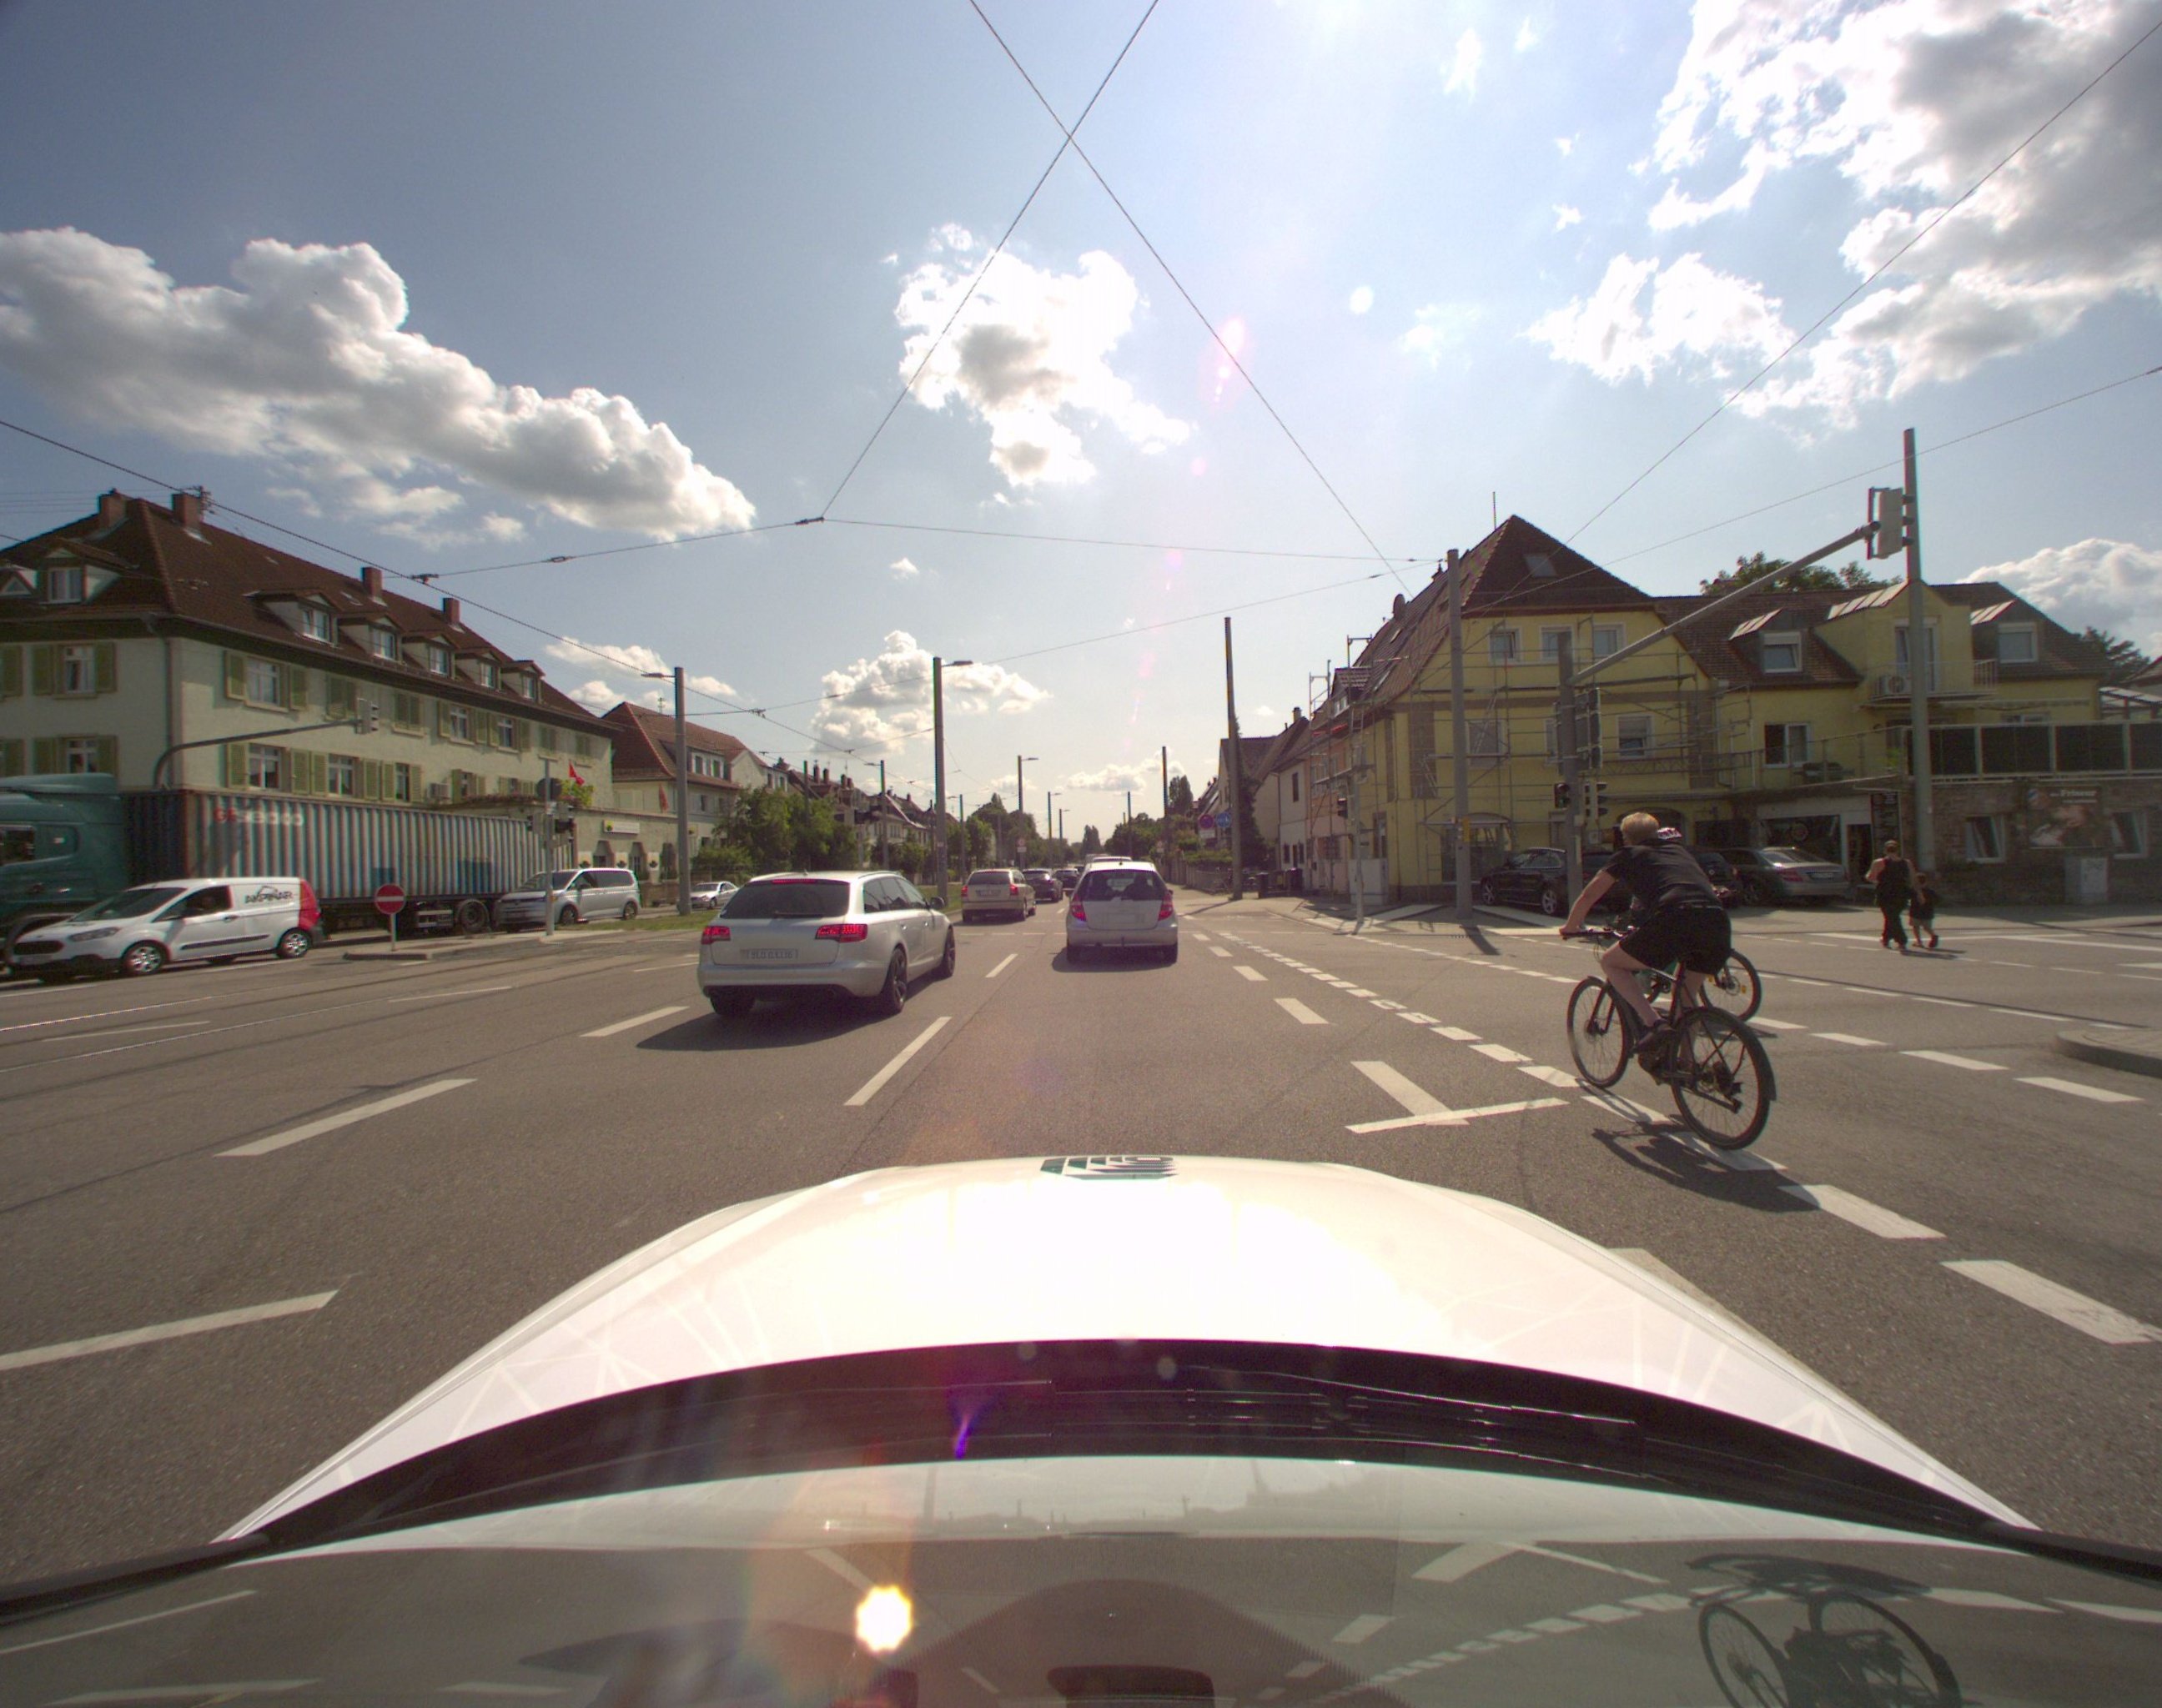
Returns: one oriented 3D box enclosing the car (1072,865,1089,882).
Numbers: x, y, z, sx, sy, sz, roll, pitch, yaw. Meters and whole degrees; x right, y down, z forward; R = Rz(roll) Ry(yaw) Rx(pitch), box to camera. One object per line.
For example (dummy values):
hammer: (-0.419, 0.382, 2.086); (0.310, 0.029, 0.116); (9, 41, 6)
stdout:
car: (-0.006, 2.218, 92.203); (1.846, 1.843, 3.917); (0, -1, 0)

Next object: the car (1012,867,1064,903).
car: (-1.828, 1.333, 35.995); (1.909, 1.477, 4.563); (0, -1, 1)

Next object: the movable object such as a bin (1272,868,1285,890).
movable object such as a bin: (9.024, 1.140, 37.244); (0.466, 0.947, 0.558); (-2, -1, 1)

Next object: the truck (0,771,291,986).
truck: (-20.306, 0.503, 16.501); (2.587, 3.821, 5.674); (-4, 0, 4)

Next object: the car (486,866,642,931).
car: (-16.254, 1.334, 25.945); (1.788, 1.815, 4.713); (-3, -1, 1)

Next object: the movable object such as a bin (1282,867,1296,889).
movable object such as a bin: (9.504, 1.096, 37.230); (0.466, 0.947, 0.558); (-2, -1, 1)

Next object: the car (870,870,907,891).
car: (-17.040, 2.335, 72.368); (2.008, 1.712, 4.937); (-3, -1, 1)

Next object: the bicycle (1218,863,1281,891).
bicycle: (7.592, 1.047, 36.833); (2.652, 1.105, 0.786); (-3, -1, 1)

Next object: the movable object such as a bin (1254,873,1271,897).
movable object such as a bin: (7.000, 1.184, 31.403); (0.509, 0.918, 0.742); (-1, -1, 2)

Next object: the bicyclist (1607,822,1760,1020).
bicyclist: (5.627, 0.593, 7.666); (0.649, 1.738, 0.982); (0, -1, -5)

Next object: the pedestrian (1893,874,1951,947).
pedestrian: (13.293, 0.888, 12.879); (0.486, 1.136, 0.389); (0, -1, 2)

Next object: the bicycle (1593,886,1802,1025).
bicycle: (5.633, 0.874, 7.570); (0.649, 1.117, 1.585); (0, -1, -5)

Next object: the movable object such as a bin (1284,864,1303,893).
movable object such as a bin: (8.204, 0.954, 31.487); (0.509, 1.105, 0.855); (-1, -1, 2)

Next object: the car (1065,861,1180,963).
car: (0.621, 0.912, 14.273); (1.724, 1.517, 4.015); (0, -1, 0)

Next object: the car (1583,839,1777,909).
car: (14.948, 0.490, 20.656); (1.986, 1.596, 4.133); (0, -1, 2)

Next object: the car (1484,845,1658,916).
car: (12.129, 0.641, 20.529); (1.986, 1.596, 4.133); (0, -1, 2)

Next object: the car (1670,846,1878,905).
car: (17.362, 0.530, 20.706); (1.860, 1.351, 4.133); (0, -1, 2)

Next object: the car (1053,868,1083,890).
car: (-0.817, 1.624, 54.016); (1.846, 1.388, 4.513); (0, -1, 0)

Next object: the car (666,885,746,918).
car: (-18.971, 2.374, 41.420); (1.787, 1.387, 4.474); (-3, -1, 3)

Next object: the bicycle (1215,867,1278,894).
bicycle: (7.596, 1.213, 37.543); (2.716, 1.120, 0.691); (-3, -1, 1)

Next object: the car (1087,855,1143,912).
car: (1.076, 0.962, 27.256); (1.724, 1.762, 4.016); (0, -1, 1)

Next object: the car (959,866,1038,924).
car: (-2.282, 1.110, 23.562); (1.724, 1.449, 4.125); (0, 0, 2)

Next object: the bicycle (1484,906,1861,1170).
bicycle: (3.258, 0.929, 4.807); (0.825, 1.075, 1.973); (-3, 0, 3)

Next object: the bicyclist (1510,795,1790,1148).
bicyclist: (3.235, 0.613, 4.772); (0.825, 1.794, 1.085); (-3, 0, 3)

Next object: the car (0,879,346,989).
car: (-16.885, 1.369, 15.343); (1.787, 1.637, 4.475); (-3, -1, 4)

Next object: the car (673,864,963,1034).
car: (-2.695, 0.880, 9.643); (1.788, 1.472, 4.722); (-1, -1, 1)

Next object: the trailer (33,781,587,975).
trailer: (-19.801, 0.472, 23.182); (2.587, 3.821, 12.851); (-4, 0, 4)

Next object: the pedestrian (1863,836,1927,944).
pedestrian: (12.670, 0.558, 12.684); (0.544, 1.643, 0.402); (0, -1, 6)

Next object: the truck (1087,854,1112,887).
truck: (1.447, 1.346, 65.501); (1.846, 2.552, 5.854); (0, -1, 0)
